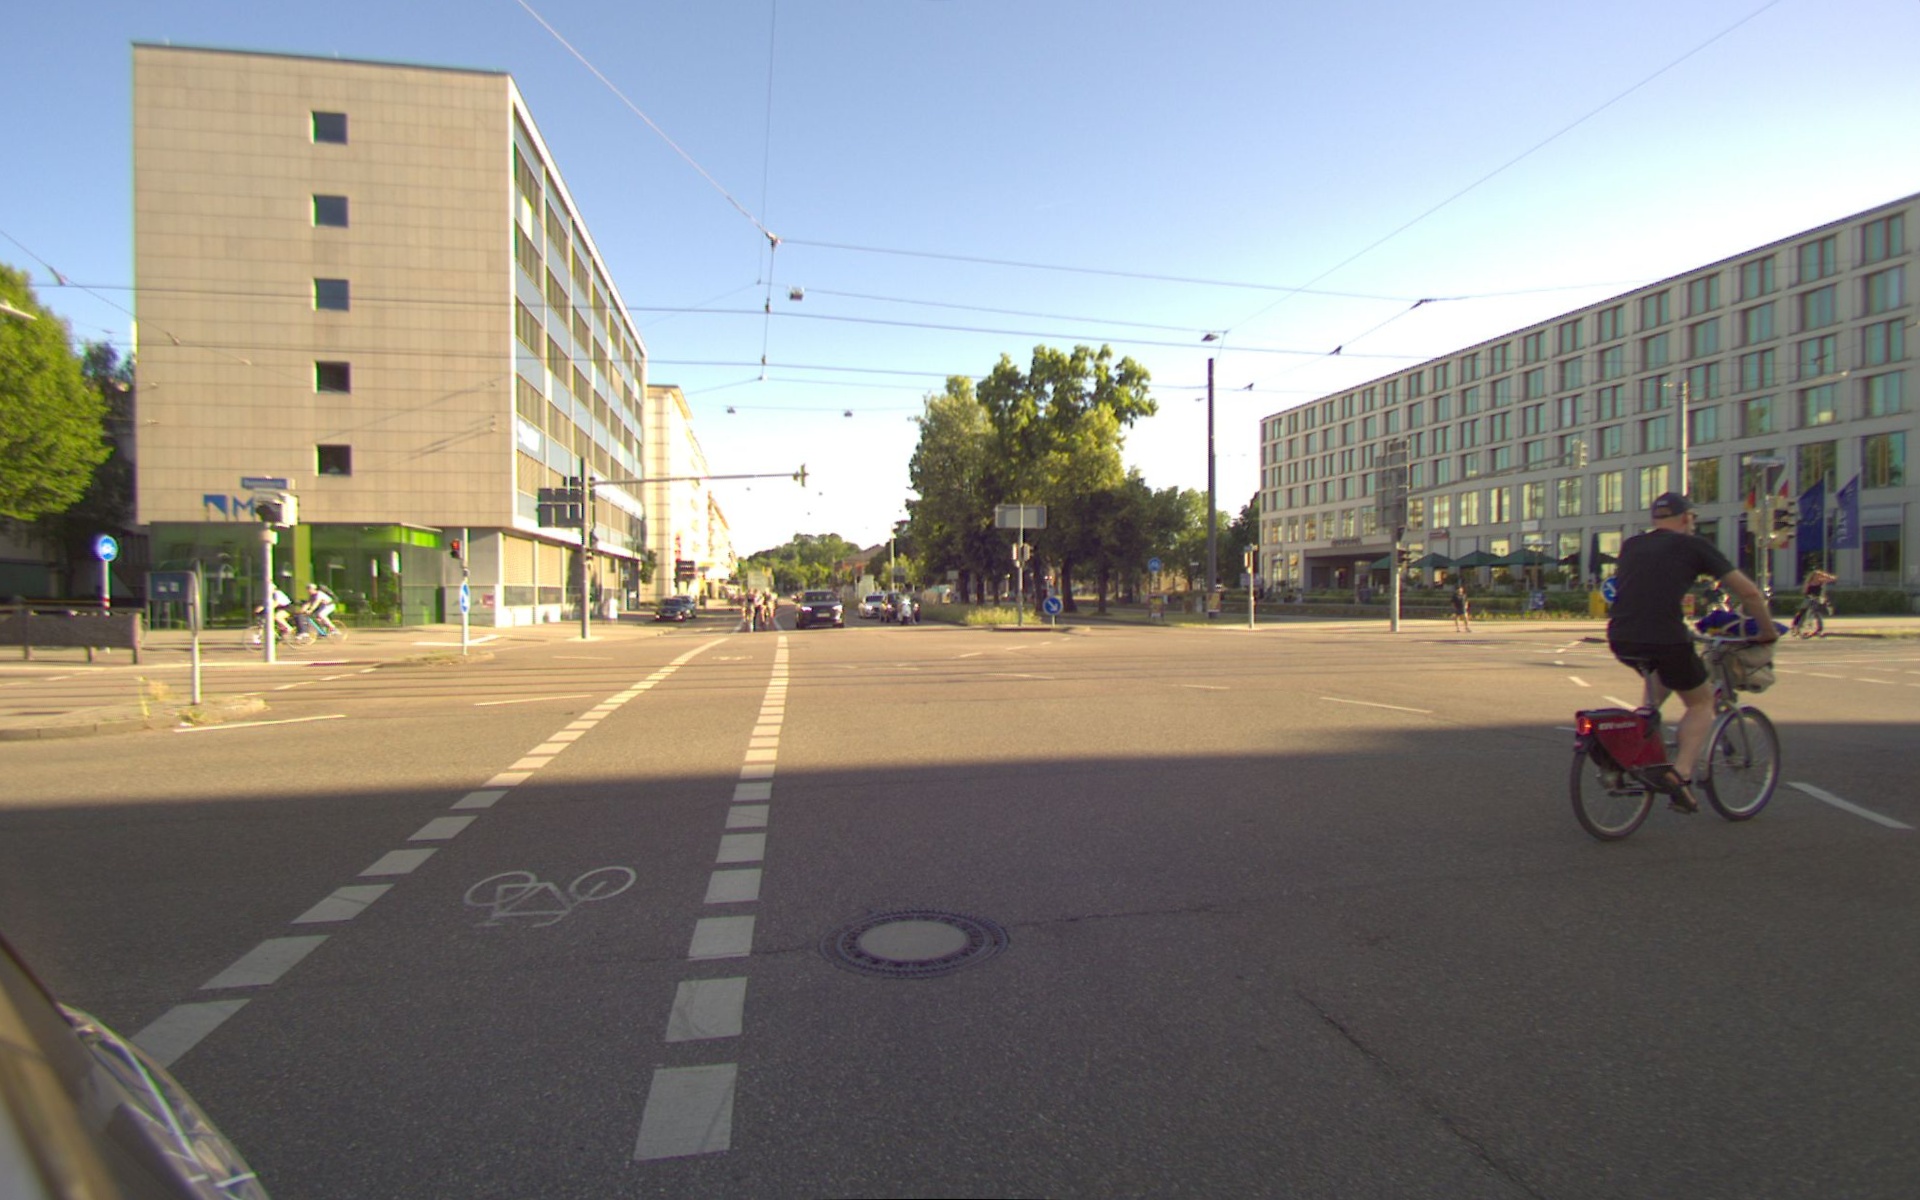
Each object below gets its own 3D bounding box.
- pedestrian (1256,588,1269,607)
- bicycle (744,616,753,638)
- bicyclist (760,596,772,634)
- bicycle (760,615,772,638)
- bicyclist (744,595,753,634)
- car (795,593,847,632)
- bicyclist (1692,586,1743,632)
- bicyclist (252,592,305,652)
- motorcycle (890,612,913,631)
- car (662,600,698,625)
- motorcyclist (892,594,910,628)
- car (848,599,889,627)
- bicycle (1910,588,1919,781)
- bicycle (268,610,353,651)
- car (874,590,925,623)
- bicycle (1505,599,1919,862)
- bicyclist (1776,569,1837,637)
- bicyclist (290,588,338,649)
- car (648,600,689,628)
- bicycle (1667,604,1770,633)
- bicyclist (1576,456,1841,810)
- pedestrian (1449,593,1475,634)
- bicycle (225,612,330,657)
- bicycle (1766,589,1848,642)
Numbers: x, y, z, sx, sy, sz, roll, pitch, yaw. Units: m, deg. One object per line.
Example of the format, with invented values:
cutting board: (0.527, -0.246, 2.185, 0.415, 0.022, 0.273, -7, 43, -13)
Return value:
pedestrian: (25.484, -0.197, 85.243, 0.772, 1.537, 0.763, 0, 0, -10)
bicycle: (-8.659, 1.091, 41.497, 0.346, 0.880, 1.388, 0, 0, -11)
bicyclist: (-8.003, 0.615, 41.765, 0.446, 1.588, 0.537, 0, 0, -11)
bicycle: (-8.015, 1.089, 41.826, 0.445, 0.880, 1.388, 0, 0, -11)
bicyclist: (-8.662, 0.598, 41.496, 0.352, 1.588, 0.537, 0, 0, -11)
car: (-6.058, 0.525, 43.752, 1.967, 1.585, 4.559, -1, 0, -11)
bicyclist: (22.872, 0.280, 30.588, 0.963, 1.372, 0.823, 0, 0, 13)
bicyclist: (-18.174, 0.567, 26.988, 0.887, 1.518, 0.896, 3, 2, 36)
motorcycle: (-2.565, 0.916, 44.329, 0.613, 0.801, 1.313, 0, 0, -20)
car: (-18.548, 0.833, 67.179, 1.967, 1.585, 4.559, 0, 0, -11)
motorcyclist: (-2.598, 0.482, 44.442, 0.596, 1.457, 0.739, 0, 0, -21)
car: (-5.380, 0.725, 59.037, 1.967, 1.585, 4.559, 0, 0, -11)
bicycle: (7.404, 0.543, 6.427, 2.274, 1.249, 0.780, -1, 2, -10)
bicycle: (-18.528, 0.854, 28.906, 0.754, 1.075, 1.884, 3, 2, 36)
car: (-3.078, 0.313, 50.500, 1.967, 1.585, 4.559, -1, 0, -11)
bicycle: (4.130, 0.637, 5.495, 1.988, 1.249, 0.780, 0, 2, -11)
bicyclist: (20.804, 0.073, 24.890, 0.845, 1.631, 0.967, 0, 0, 19)
bicyclist: (-18.478, 0.513, 28.940, 0.763, 1.703, 0.935, 3, 2, 36)
car: (-17.572, 0.800, 61.179, 1.967, 1.585, 4.559, 0, 0, -11)
bicycle: (22.888, 0.547, 30.575, 2.313, 0.858, 0.839, 0, 0, 14)
bicyclist: (4.002, 0.158, 5.467, 0.825, 1.756, 0.756, 0, 1, -11)
pedestrian: (18.973, 0.505, 38.272, 0.613, 1.537, 0.605, 0, 0, -15)
bicycle: (-18.185, 0.901, 26.995, 0.882, 1.075, 2.156, 3, 2, 36)
bicycle: (20.822, 0.363, 24.927, 0.839, 1.240, 2.002, 0, 0, 18)
